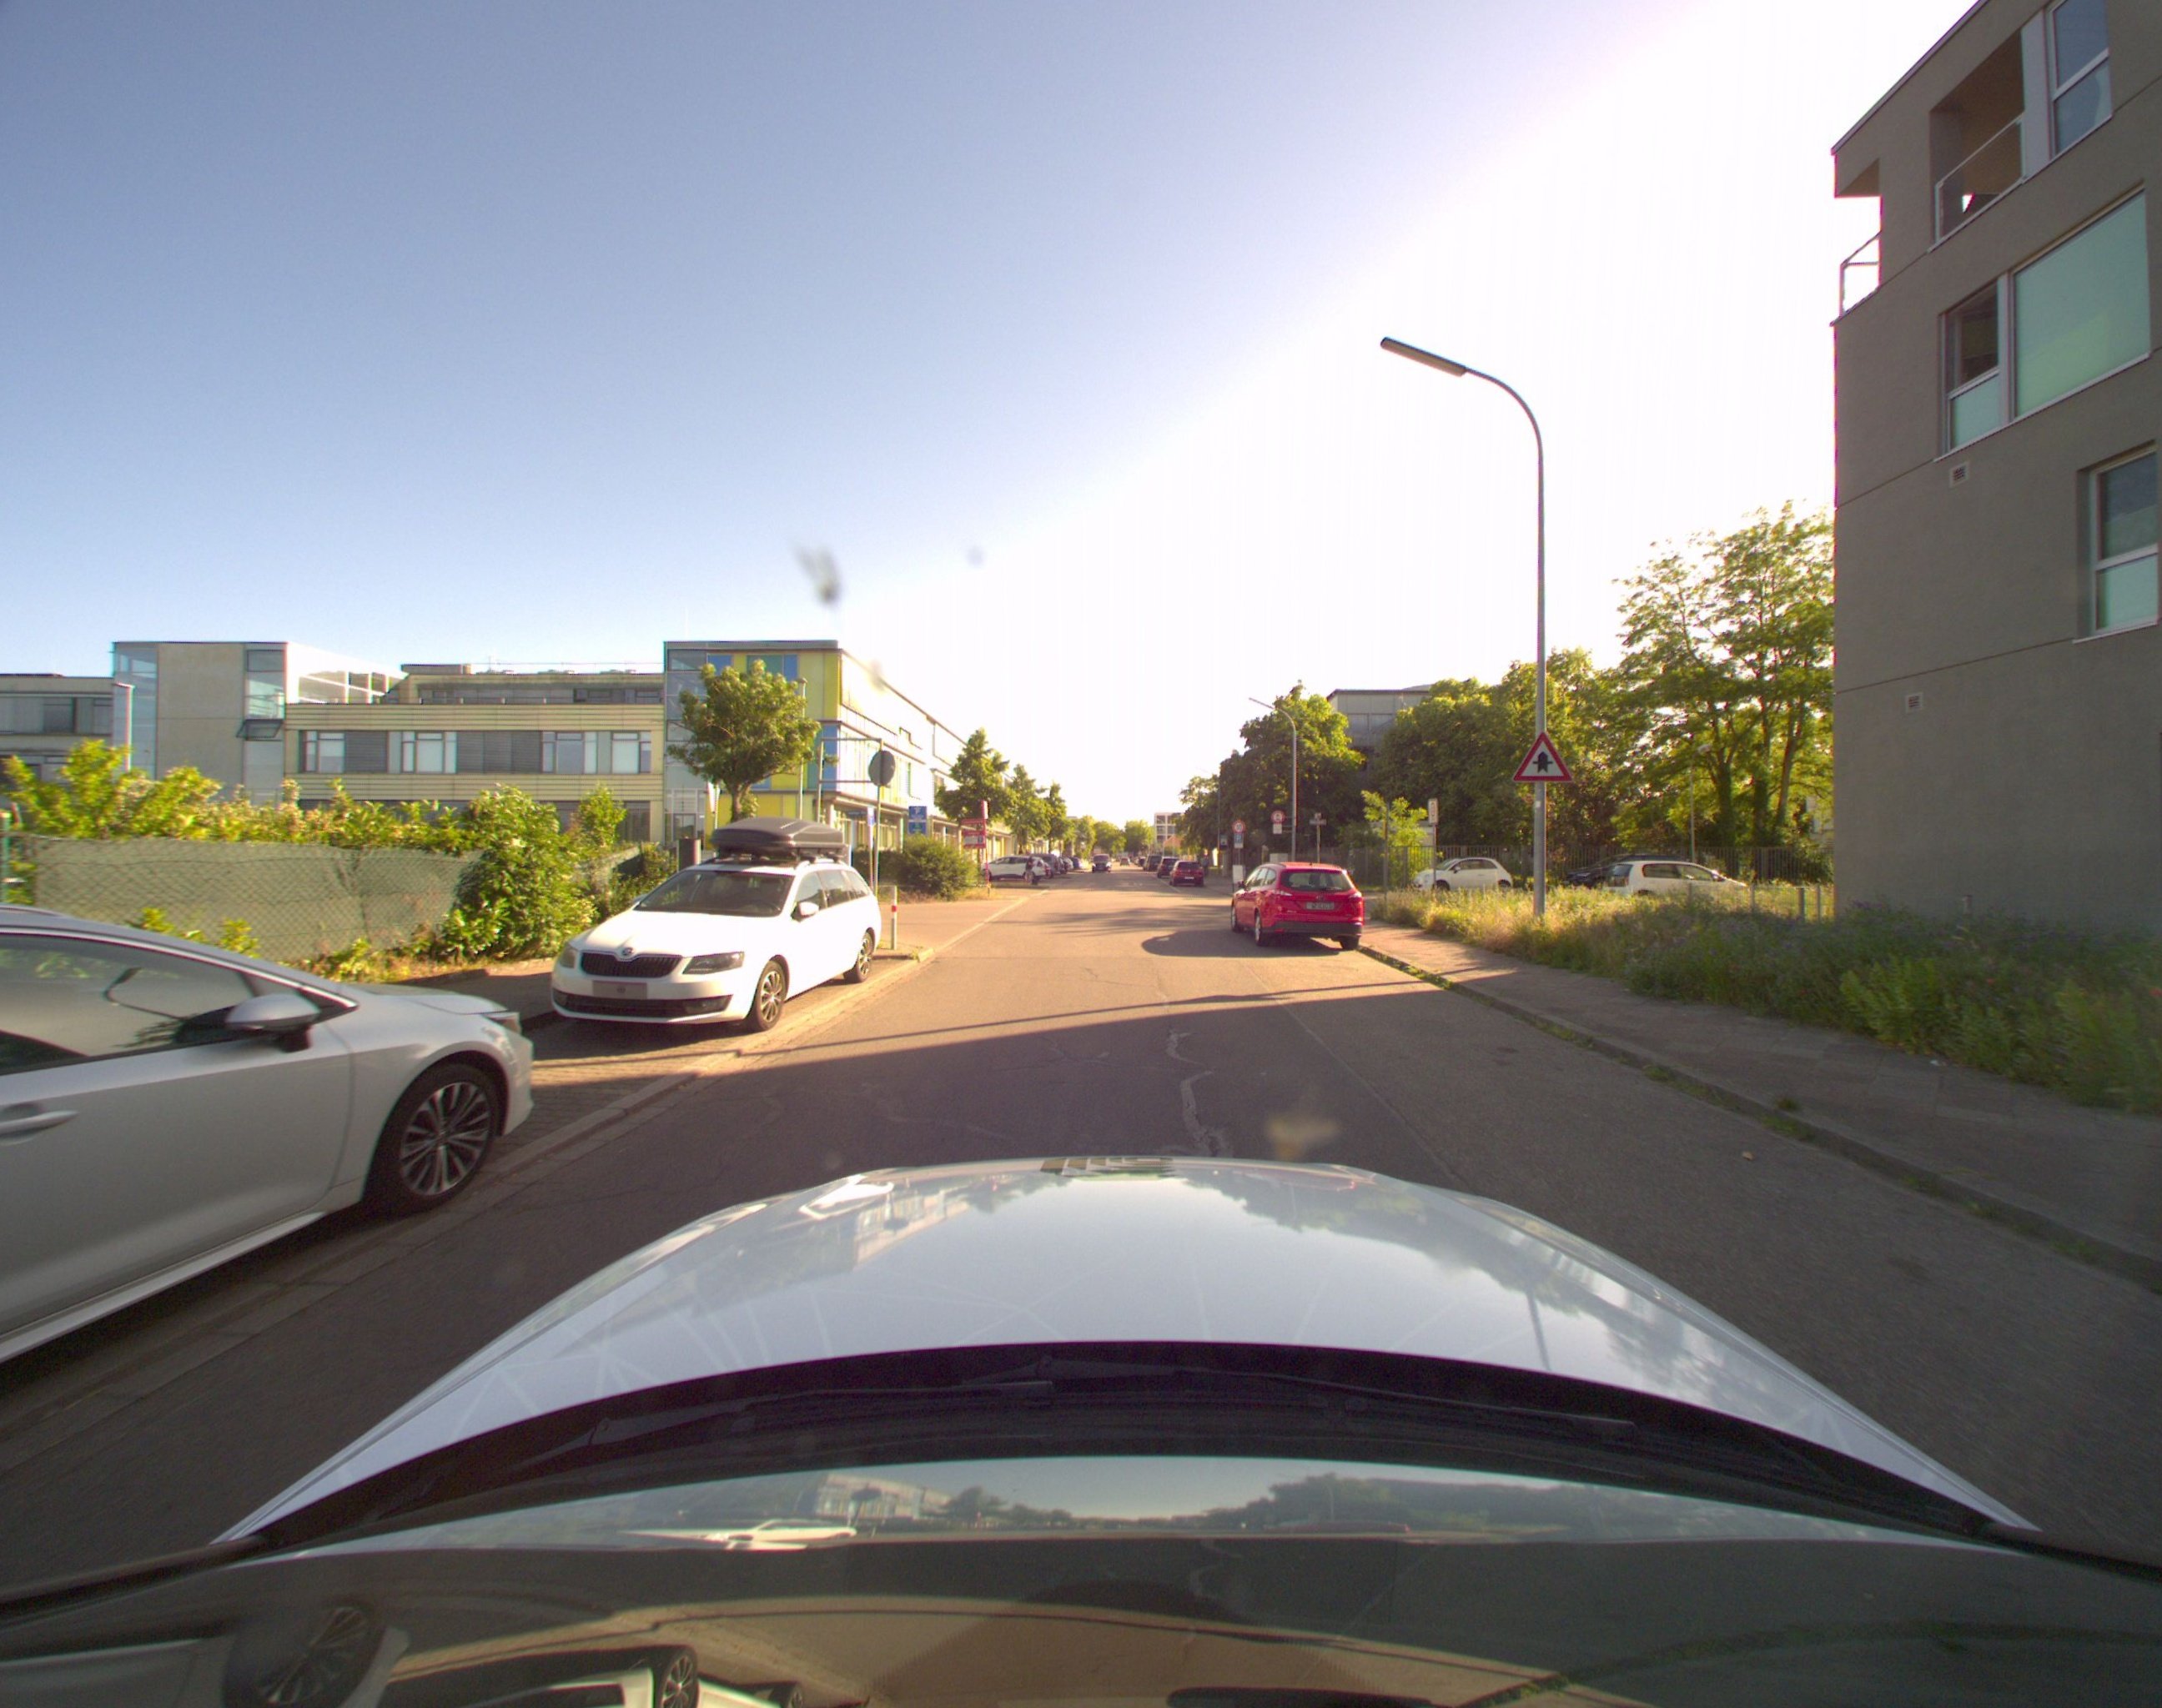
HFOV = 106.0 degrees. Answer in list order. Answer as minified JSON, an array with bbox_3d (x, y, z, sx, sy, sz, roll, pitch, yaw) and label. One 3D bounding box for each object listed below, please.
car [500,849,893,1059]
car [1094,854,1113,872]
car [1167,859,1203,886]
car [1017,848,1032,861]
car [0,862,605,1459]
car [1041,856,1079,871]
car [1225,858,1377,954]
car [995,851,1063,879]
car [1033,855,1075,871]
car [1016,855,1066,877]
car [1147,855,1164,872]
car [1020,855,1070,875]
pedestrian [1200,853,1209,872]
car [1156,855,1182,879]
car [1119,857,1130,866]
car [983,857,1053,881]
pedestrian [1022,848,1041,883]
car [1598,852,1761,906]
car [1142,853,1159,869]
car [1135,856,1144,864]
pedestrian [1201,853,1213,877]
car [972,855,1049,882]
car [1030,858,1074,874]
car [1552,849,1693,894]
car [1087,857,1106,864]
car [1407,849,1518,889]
[{"bbox_3d":[-3.437,0.766,8.428,1.689,1.513,4.519,2,0,2],"label":"car"},{"bbox_3d":[2.376,0.898,84.409,1.947,1.867,5.258,0,0,2],"label":"car"},{"bbox_3d":[6.069,1.060,47.914,1.713,1.455,4.654,1,0,2],"label":"car"},{"bbox_3d":[-9.099,0.074,132.282,1.985,2.014,4.002,0,-2,2],"label":"car"},{"bbox_3d":[-3.633,0.800,2.204,1.740,1.446,4.545,3,0,3],"label":"car"},{"bbox_3d":[-2.384,1.048,93.184,4.202,1.603,1.871,2,0,-2],"label":"car"},{"bbox_3d":[3.992,0.856,15.526,1.812,1.499,4.454,2,0,2],"label":"car"},{"bbox_3d":[-3.829,0.814,60.457,4.723,1.865,1.829,2,0,3],"label":"car"},{"bbox_3d":[-2.750,0.894,83.209,4.202,1.462,1.871,2,0,-2],"label":"car"},{"bbox_3d":[-3.266,0.984,67.438,3.976,1.607,1.871,2,0,-2],"label":"car"},{"bbox_3d":[8.074,1.016,88.897,1.726,1.830,3.908,0,0,3],"label":"car"},{"bbox_3d":[-3.050,0.963,70.389,4.234,1.612,2.047,2,0,-2],"label":"car"},{"bbox_3d":[11.327,0.791,74.922,0.695,1.661,0.752,-2,-1,2],"label":"pedestrian"},{"bbox_3d":[6.892,0.996,63.946,1.804,1.666,4.597,1,1,4],"label":"car"},{"bbox_3d":[7.529,1.286,140.818,1.736,1.543,4.003,1,0,3],"label":"car"},{"bbox_3d":[-4.201,0.999,54.814,4.416,1.501,1.829,0,-1,3],"label":"car"},{"bbox_3d":[-2.724,0.622,44.616,0.854,1.842,0.826,2,0,4],"label":"pedestrian"},{"bbox_3d":[16.748,0.670,22.932,3.308,1.458,1.718,0,0,7],"label":"car"},{"bbox_3d":[8.625,0.842,101.383,1.867,1.978,4.002,-1,0,2],"label":"car"},{"bbox_3d":[10.775,1.128,150.000,1.430,1.560,3.044,0,0,2],"label":"car"},{"bbox_3d":[9.389,0.834,60.808,0.714,1.758,0.885,-2,0,3],"label":"pedestrian"},{"bbox_3d":[-4.486,0.922,52.165,4.589,1.651,1.870,0,-1,6],"label":"car"},{"bbox_3d":[-2.697,1.141,76.082,3.976,1.358,1.742,2,0,-2],"label":"car"},{"bbox_3d":[20.259,0.645,30.596,4.135,1.637,1.757,0,0,3],"label":"car"},{"bbox_3d":[3.303,1.420,176.716,3.971,1.519,2.001,0,-2,2],"label":"car"},{"bbox_3d":[14.591,0.566,31.253,3.531,1.486,1.602,0,0,3],"label":"car"}]
